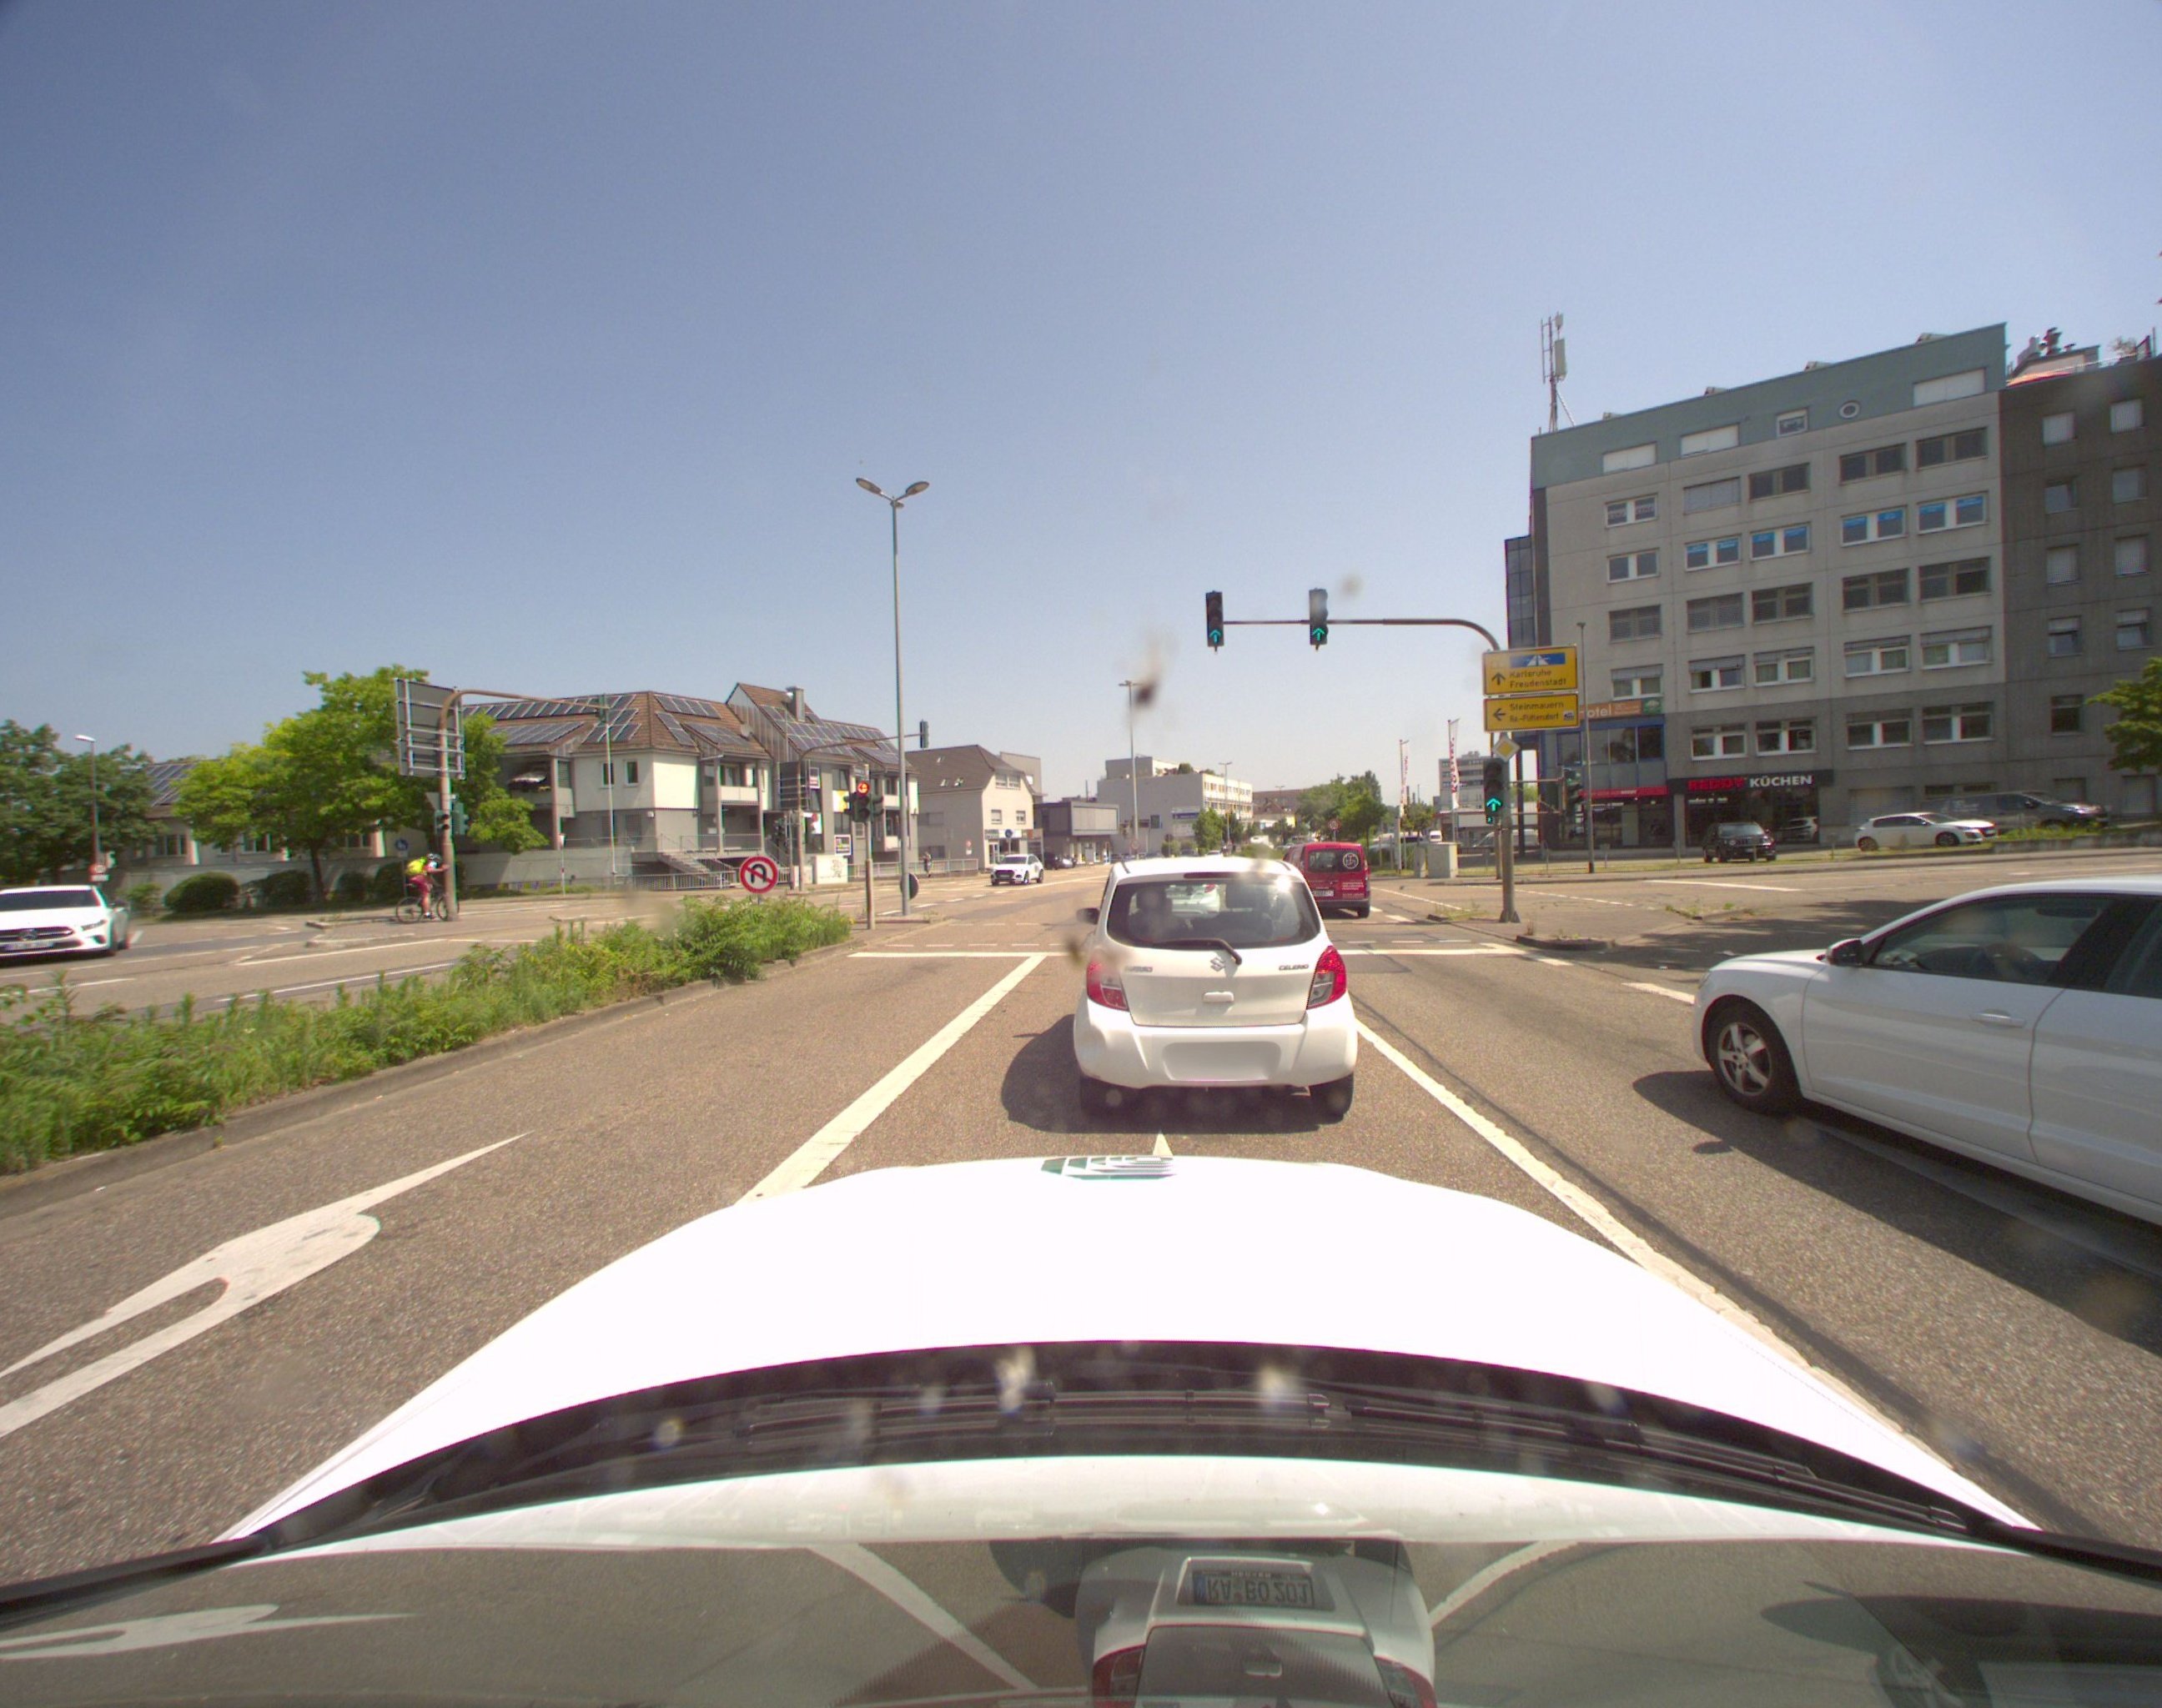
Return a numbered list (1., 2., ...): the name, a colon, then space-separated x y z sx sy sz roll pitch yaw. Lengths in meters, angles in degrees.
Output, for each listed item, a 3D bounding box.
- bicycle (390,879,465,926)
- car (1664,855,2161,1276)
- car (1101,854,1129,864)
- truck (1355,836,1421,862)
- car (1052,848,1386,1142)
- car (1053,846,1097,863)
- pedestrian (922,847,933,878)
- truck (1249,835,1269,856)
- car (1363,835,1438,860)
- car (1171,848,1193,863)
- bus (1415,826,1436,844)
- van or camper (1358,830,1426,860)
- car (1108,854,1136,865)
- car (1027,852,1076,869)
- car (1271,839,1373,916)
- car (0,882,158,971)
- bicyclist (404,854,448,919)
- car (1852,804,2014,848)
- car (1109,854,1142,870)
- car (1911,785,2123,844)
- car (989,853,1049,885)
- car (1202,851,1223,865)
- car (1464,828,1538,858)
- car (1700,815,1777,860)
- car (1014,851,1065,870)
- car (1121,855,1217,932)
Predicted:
1. bicycle: -16.919 1.237 21.145 0.419 1.054 1.791 0 1 2
2. car: 4.521 0.717 3.375 1.660 1.399 3.797 -1 0 4
3. car: 5.302 0.794 127.724 3.939 1.467 1.974 -2 0 19
4. truck: 32.183 -0.547 85.460 6.188 2.336 2.382 -3 1 25
5. car: 0.814 0.743 5.850 1.705 1.511 3.250 0 -1 4
6. car: -0.646 0.063 84.408 4.021 1.521 2.010 -2 0 21
7. pedestrian: -10.112 0.576 53.744 0.499 2.013 0.745 -1 1 8
8. truck: 29.282 -1.322 133.673 2.246 3.417 7.073 -1 -1 19
9. car: 23.255 -0.467 59.343 4.711 1.713 1.999 0 -1 -1
10. car: 12.059 0.121 96.957 1.979 1.656 4.612 -2 0 14
11. bus: 69.905 -3.896 165.148 2.778 3.078 12.362 -1 2 28
12. van or camper: 34.167 -0.967 89.576 6.735 2.897 2.288 -3 0 23
13. car: 6.581 0.917 130.854 3.939 1.467 2.084 -4 0 22
14. car: -2.943 0.599 81.931 4.571 1.496 1.760 2 2 16
15. car: 5.943 0.538 20.529 1.785 1.729 3.980 -1 0 6
16. car: -19.881 1.333 15.867 1.884 1.424 4.217 -4 1 -41
17. bicyclist: -16.932 0.826 21.071 0.419 1.642 0.821 0 1 2
18. car: 33.461 -1.048 32.169 1.541 1.533 4.203 0 -1 -15
19. car: 3.818 0.656 68.796 1.849 1.366 4.365 0 0 16
20. car: 36.315 -1.428 31.841 1.888 2.037 5.166 1 0 -15
21. car: -3.189 0.758 42.998 1.804 1.570 4.573 -1 0 14
22. car: 14.595 0.439 90.260 1.849 1.431 4.763 -1 0 15
23. car: 37.563 -0.973 72.960 5.831 2.528 2.132 -1 -1 27
24. car: 27.069 -0.655 33.646 1.524 1.675 4.355 -2 0 26
25. car: -4.031 0.620 78.725 4.565 1.627 1.864 2 1 23
26. car: 2.001 0.765 17.567 1.819 1.450 4.011 -1 0 9
